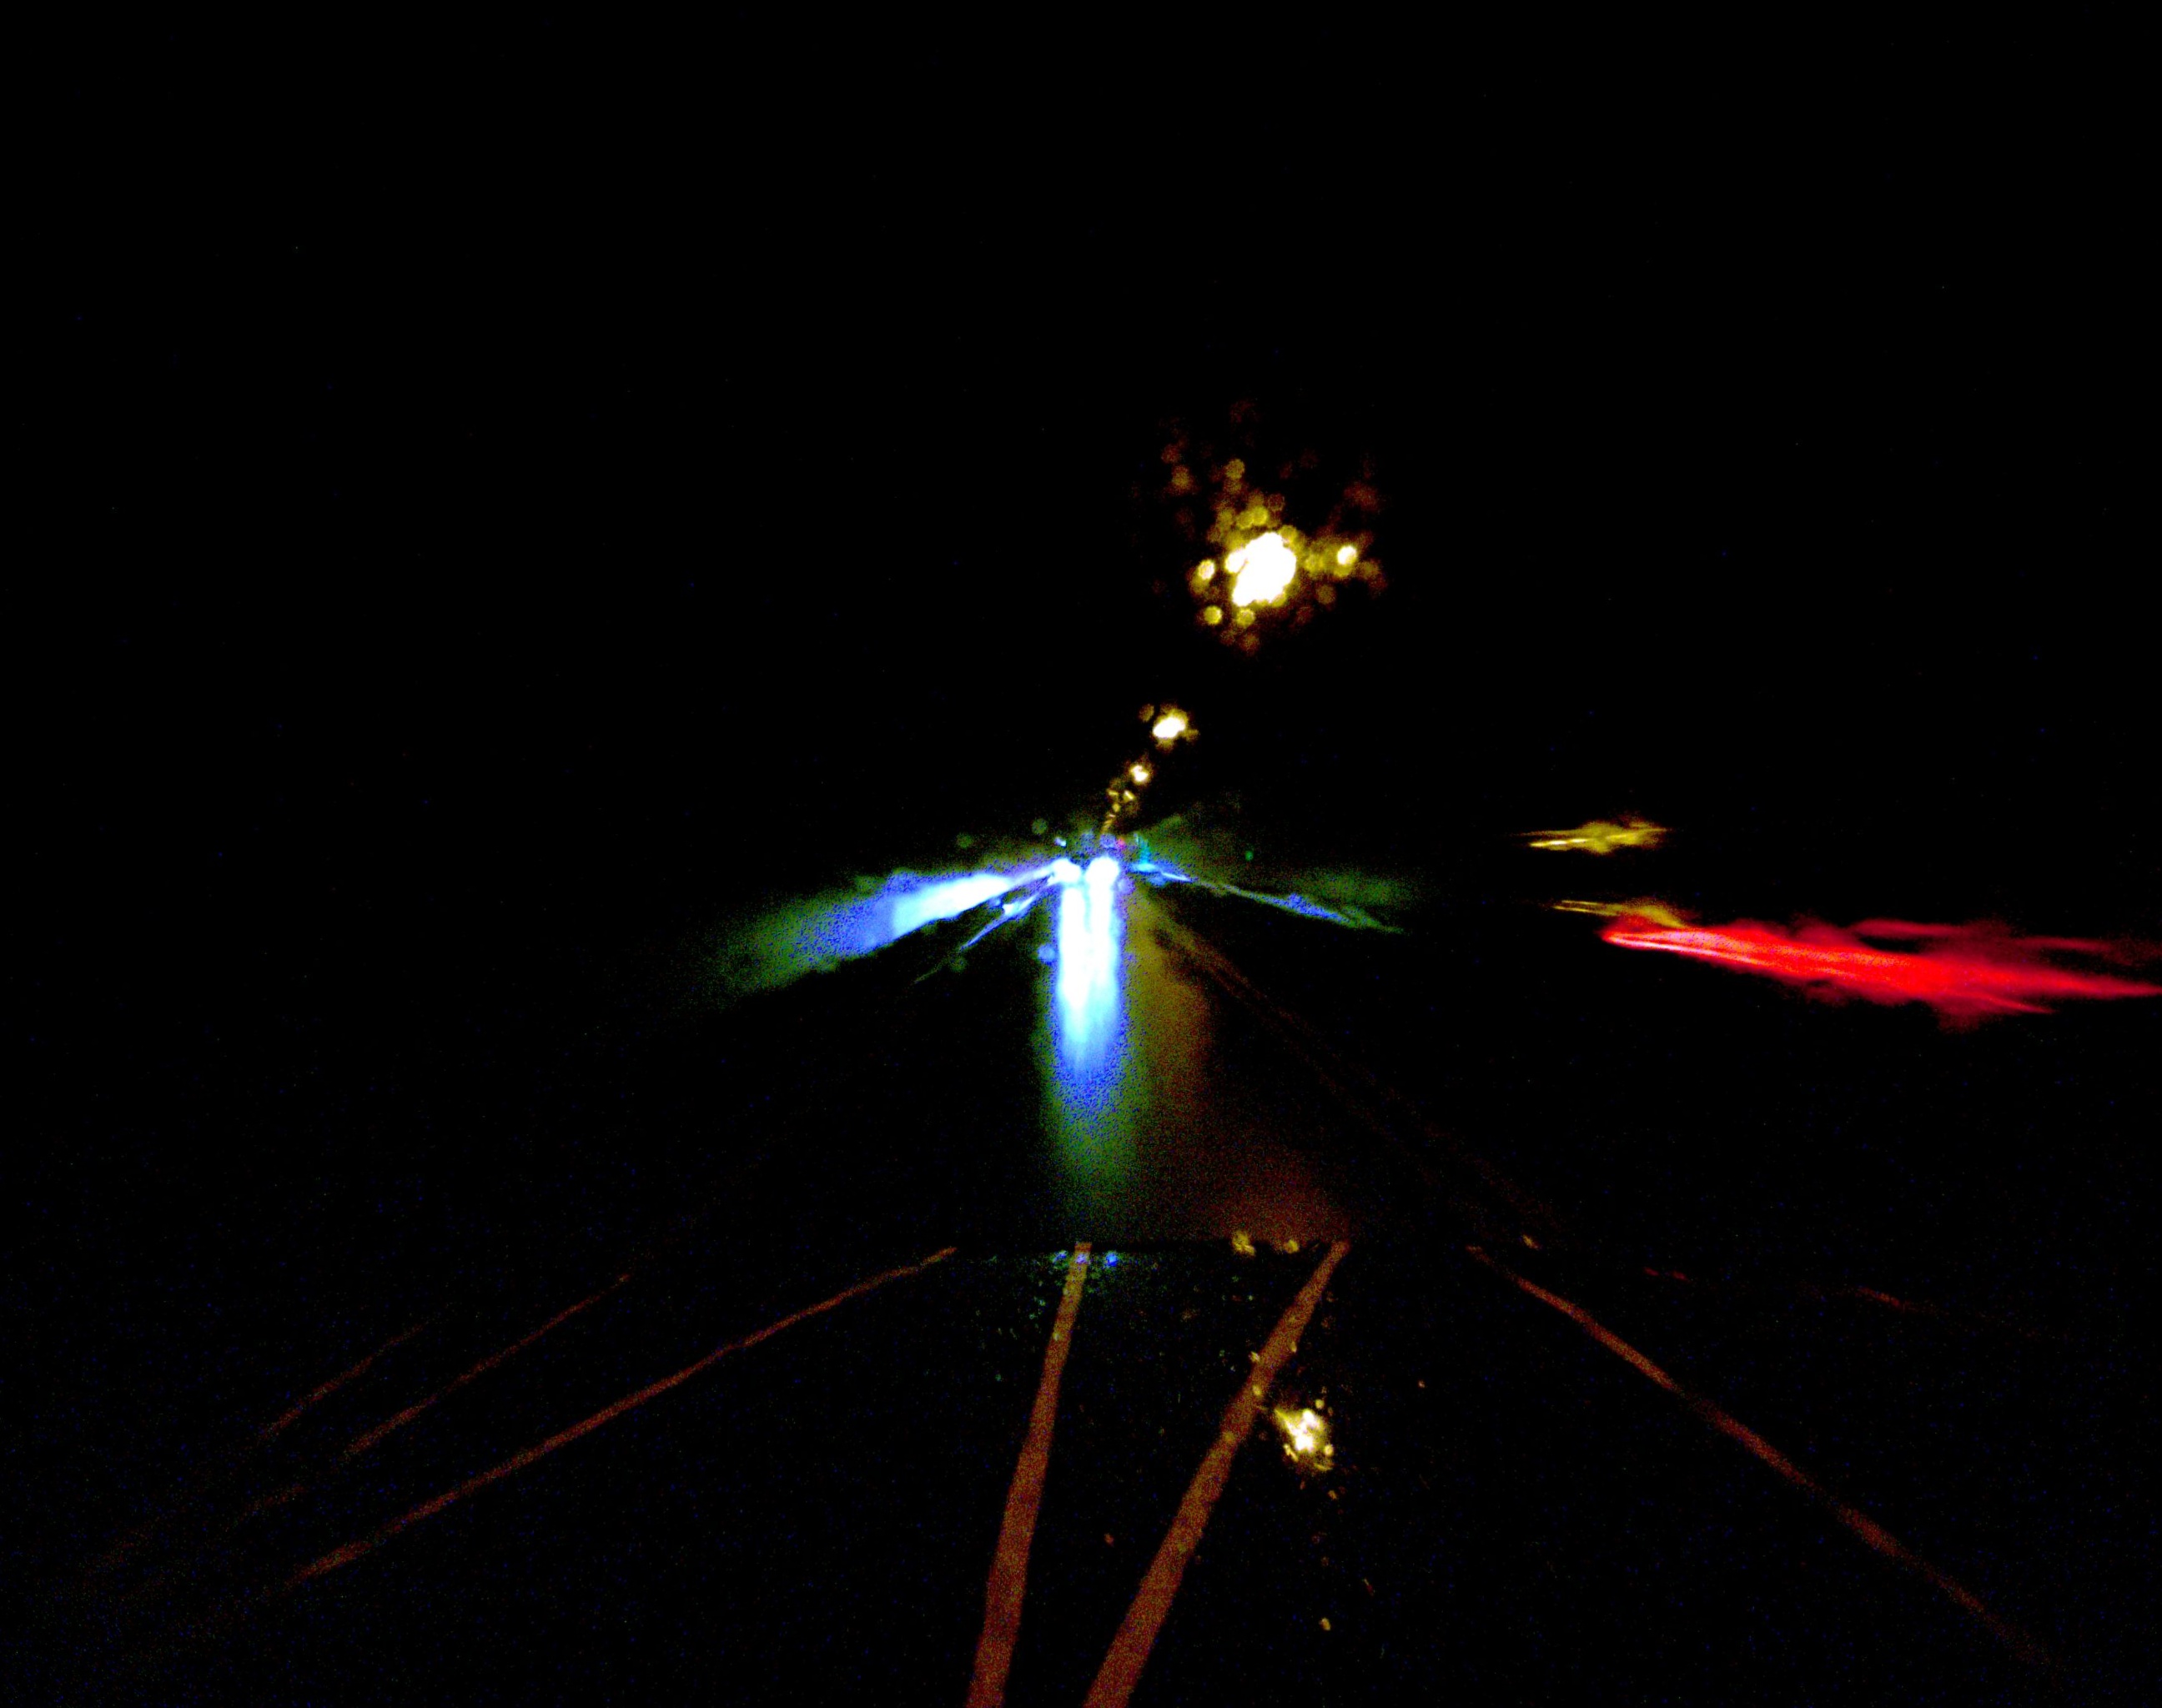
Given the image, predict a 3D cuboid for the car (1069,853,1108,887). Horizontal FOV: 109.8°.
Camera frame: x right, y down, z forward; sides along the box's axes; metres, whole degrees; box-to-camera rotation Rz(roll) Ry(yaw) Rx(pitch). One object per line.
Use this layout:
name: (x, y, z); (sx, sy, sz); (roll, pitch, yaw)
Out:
car: (0.389, 0.766, 38.398); (1.829, 1.650, 3.929); (0, 0, 1)

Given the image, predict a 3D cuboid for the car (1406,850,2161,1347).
car: (3.622, 0.785, 4.450); (1.753, 1.575, 4.000); (-1, 1, 1)
